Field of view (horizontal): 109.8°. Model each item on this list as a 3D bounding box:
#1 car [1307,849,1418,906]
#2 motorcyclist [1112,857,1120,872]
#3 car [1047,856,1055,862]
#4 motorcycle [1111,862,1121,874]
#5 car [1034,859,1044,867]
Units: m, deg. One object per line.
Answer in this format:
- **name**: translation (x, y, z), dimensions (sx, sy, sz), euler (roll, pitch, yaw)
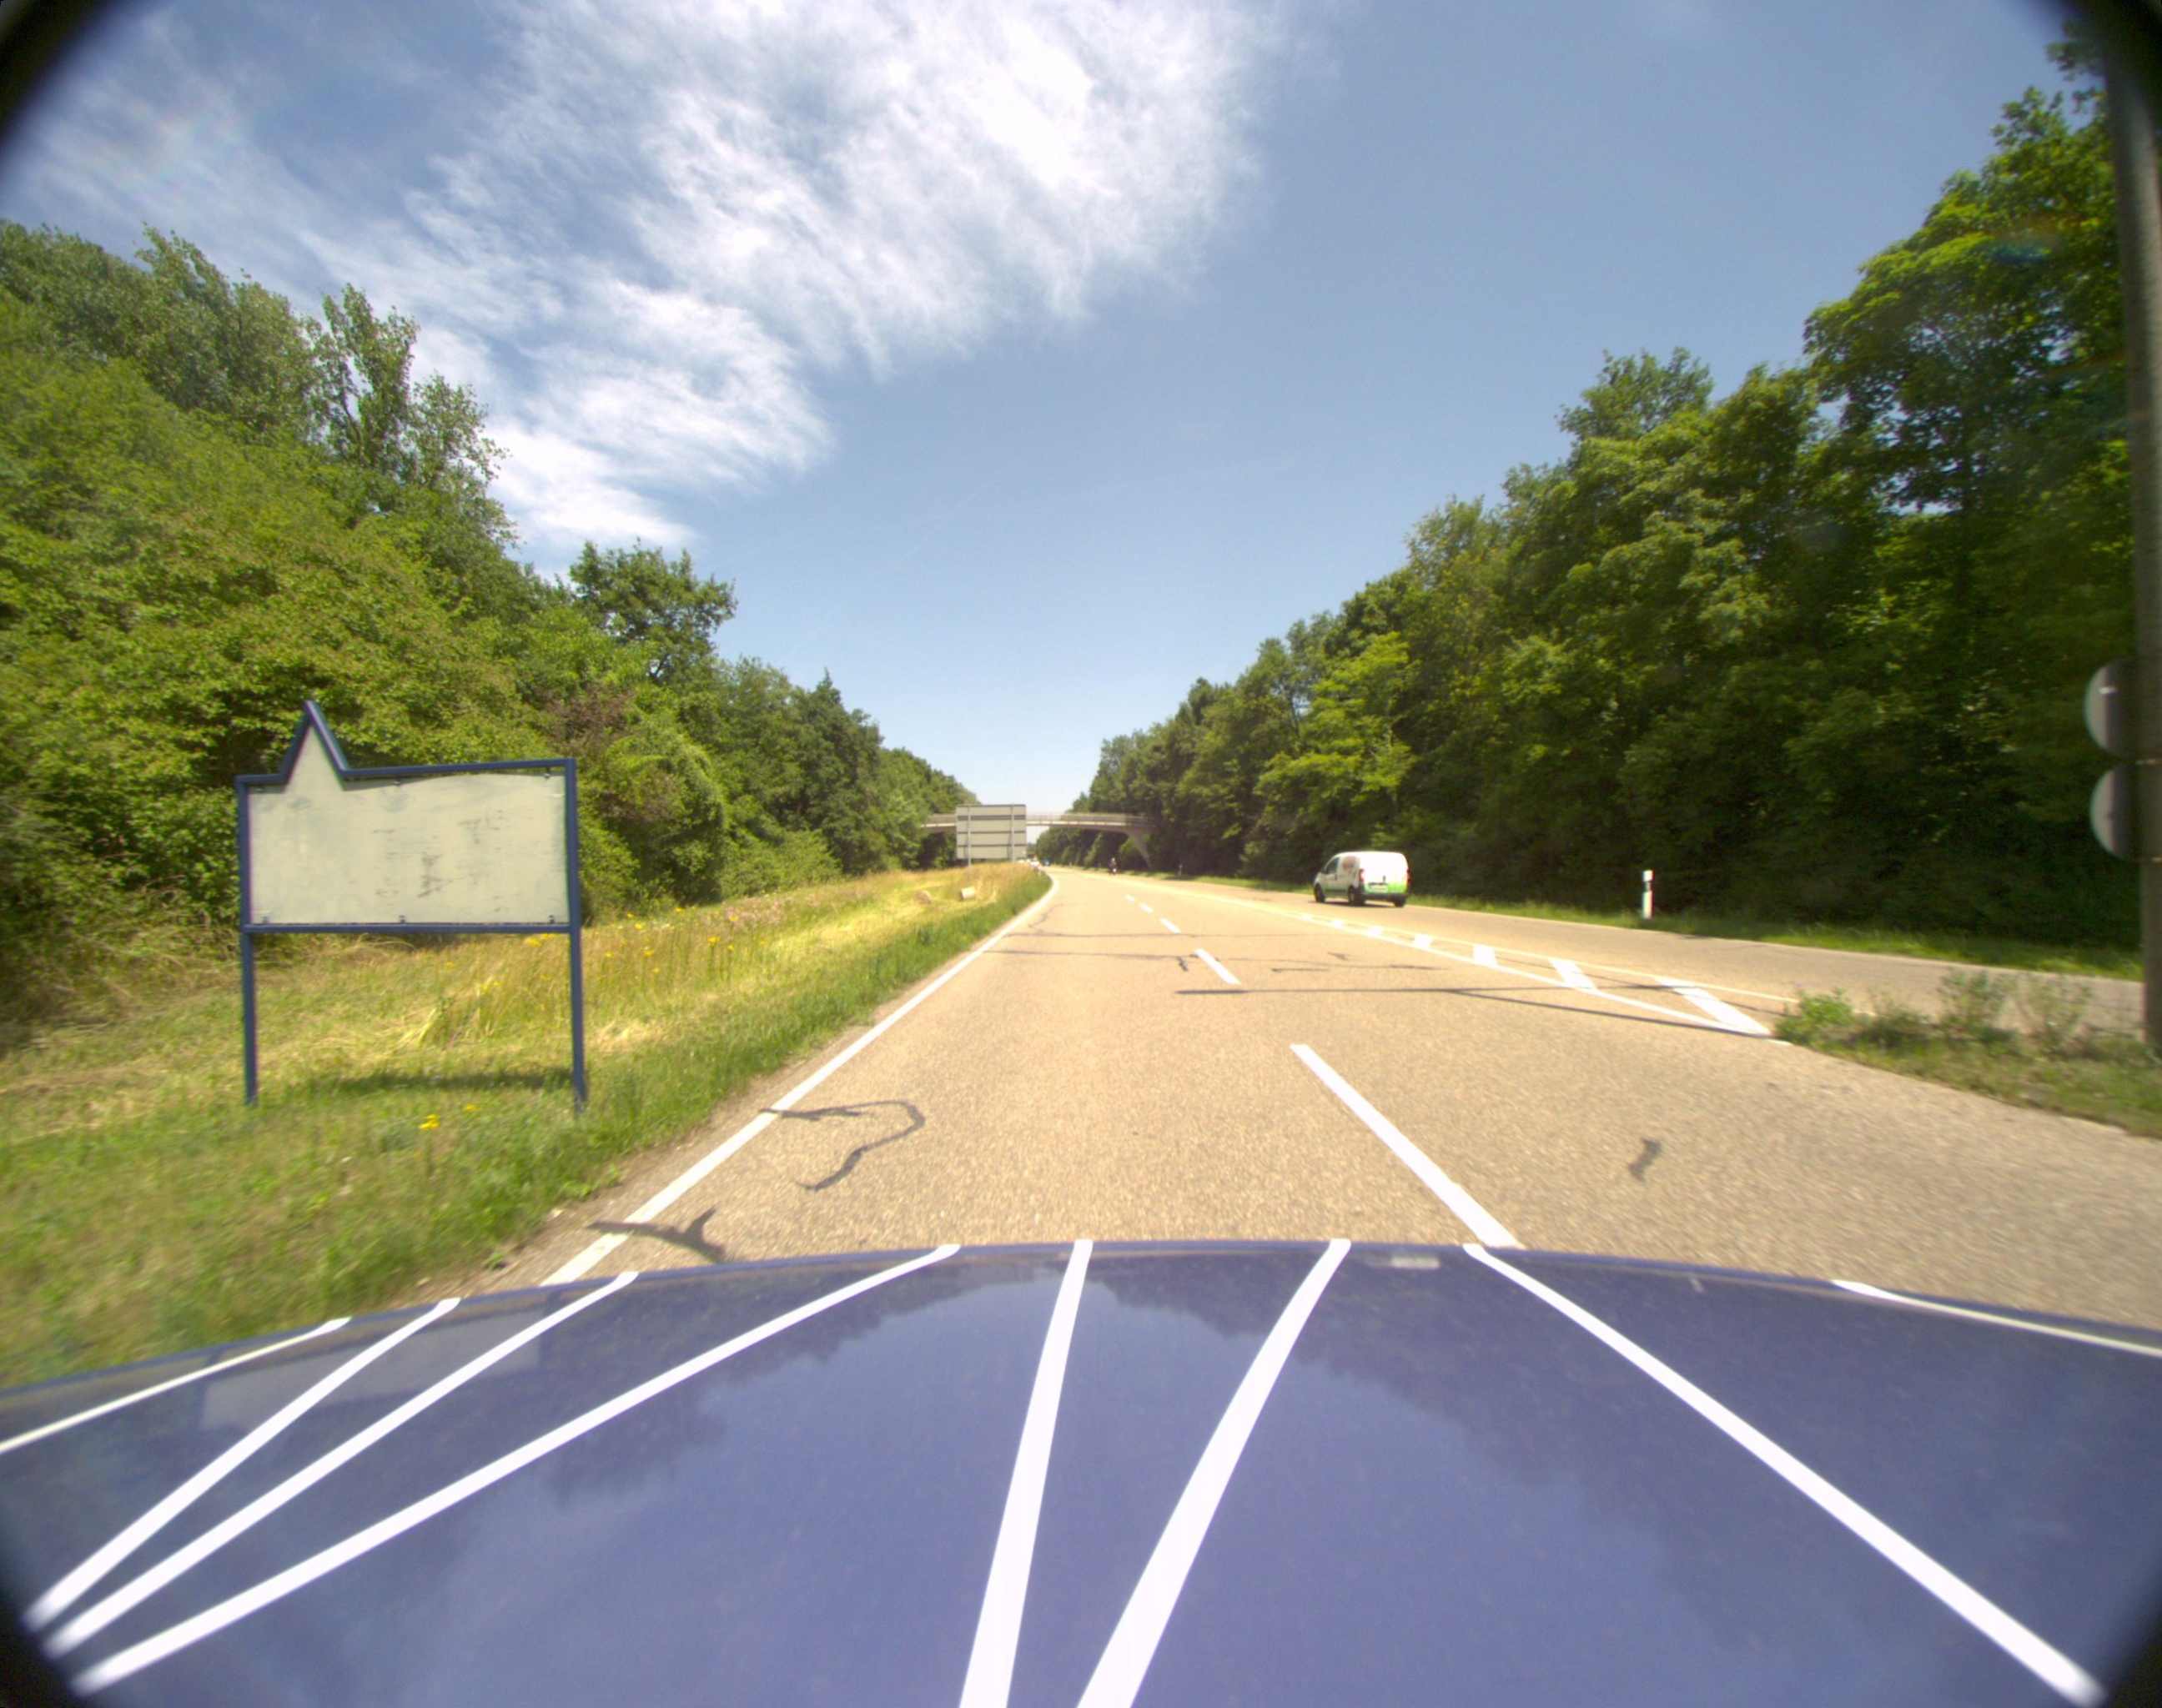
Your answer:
- **car**: translation (9.044, 0.705, 24.786), dimensions (1.737, 1.678, 4.093), euler (1, 0, -6)
- **motorcyclist**: translation (3.572, 1.084, 78.234), dimensions (0.672, 1.467, 0.813), euler (0, 1, -8)
- **car**: translation (-7.743, 1.235, 196.658), dimensions (1.829, 1.580, 4.417), euler (1, 0, -5)
- **motorcycle**: translation (3.611, 1.450, 78.246), dimensions (0.672, 1.167, 2.230), euler (0, 0, -7)
- **car**: translation (-9.644, 2.067, 174.394), dimensions (1.866, 1.747, 3.997), euler (0, 0, -6)
